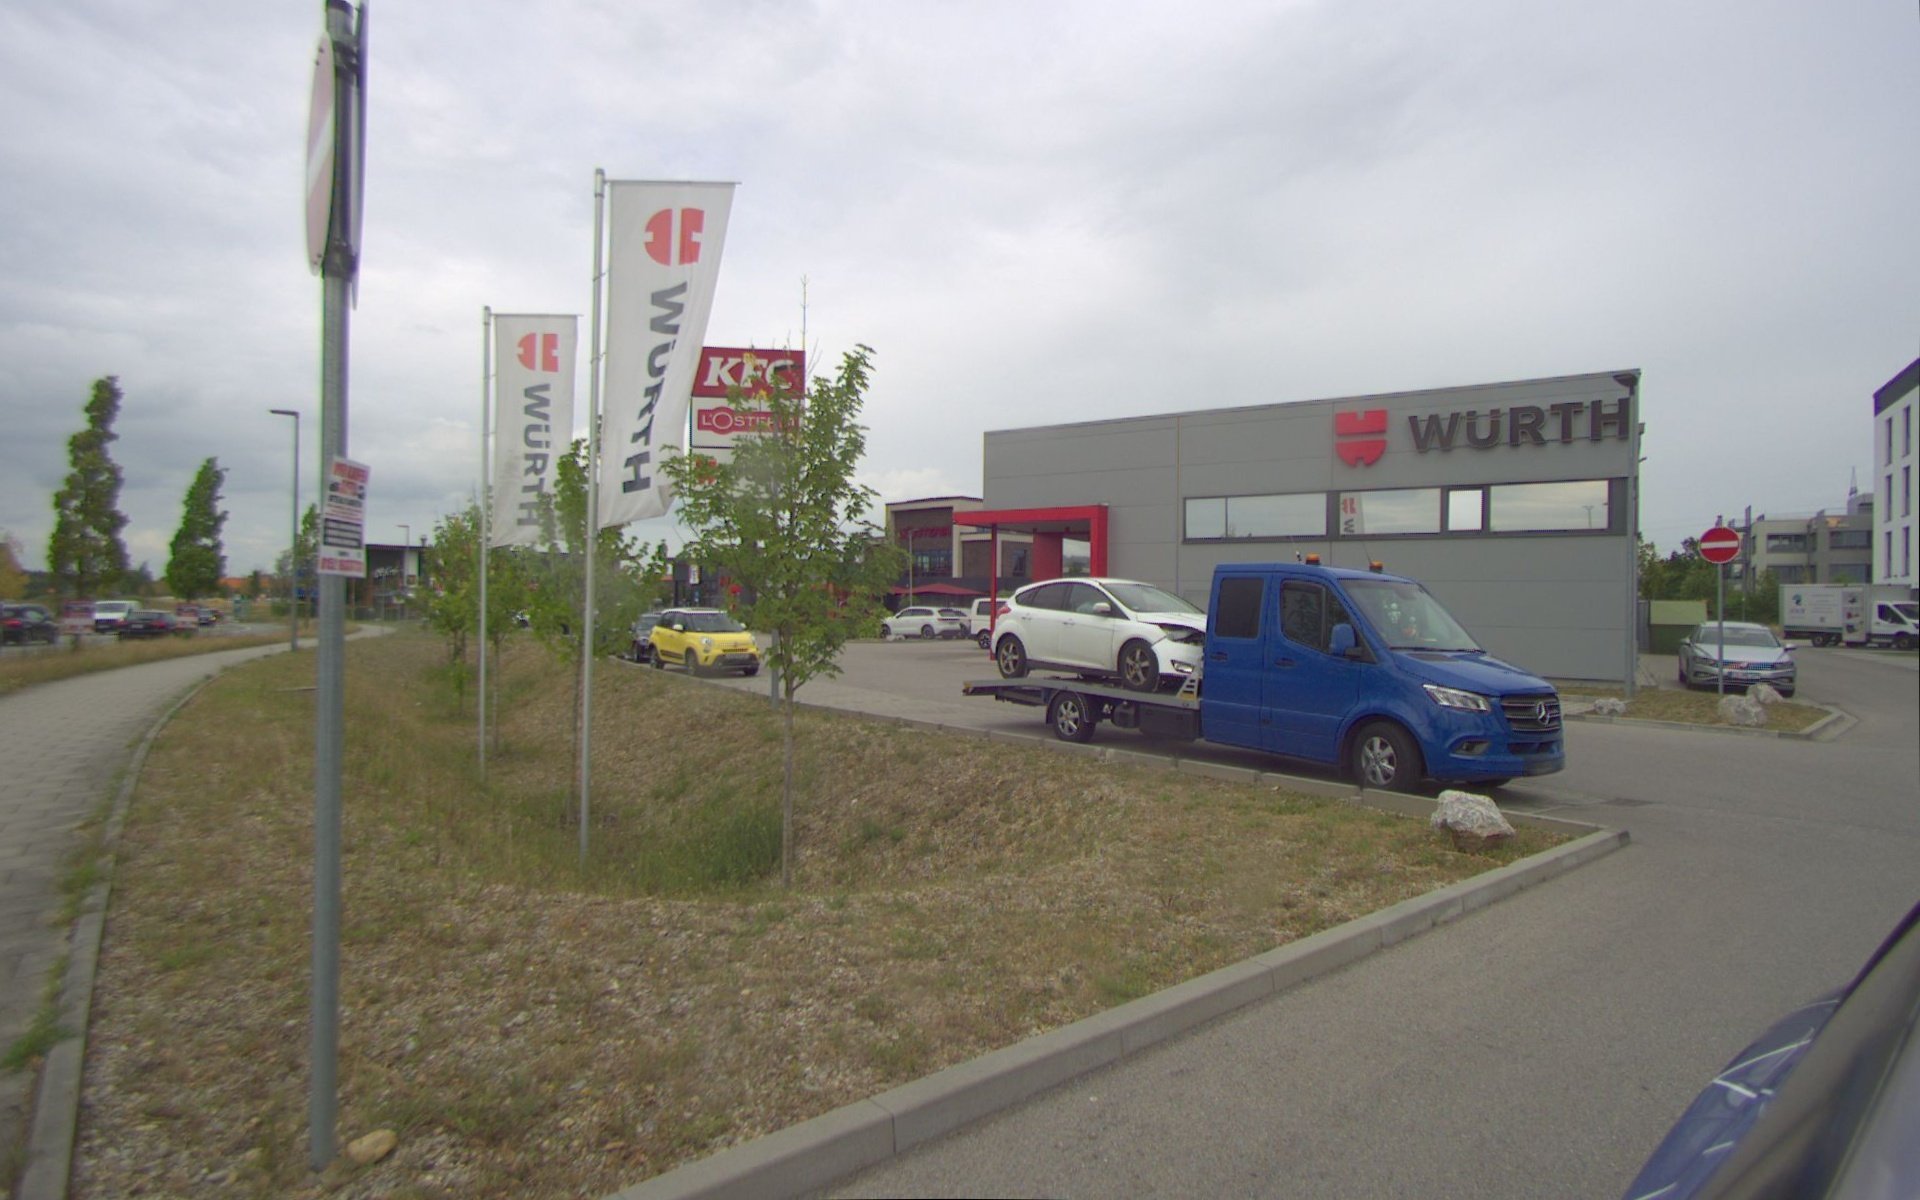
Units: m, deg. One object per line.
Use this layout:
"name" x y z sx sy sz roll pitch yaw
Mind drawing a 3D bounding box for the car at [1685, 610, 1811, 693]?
"car" 17.479 1.039 22.372 1.972 1.510 4.701 3 2 40

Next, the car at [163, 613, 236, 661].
"car" -29.485 1.388 39.312 1.651 1.697 3.511 0 0 -26

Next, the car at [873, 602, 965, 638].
"car" -2.157 0.998 52.417 4.713 1.771 1.735 0 -1 37

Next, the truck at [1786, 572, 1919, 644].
"truck" 41.656 0.308 45.703 2.388 3.054 7.077 0 0 -6

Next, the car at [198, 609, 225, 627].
"car" -81.475 1.945 110.114 3.903 1.873 1.780 0 0 45

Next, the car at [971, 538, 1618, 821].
"car" 3.200 0.629 12.298 2.158 2.352 7.860 0 0 -33

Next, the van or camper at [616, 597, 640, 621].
"van or camper" -29.522 0.815 89.989 1.820 2.087 5.245 0 0 -16

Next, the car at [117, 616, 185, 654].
"car" -32.855 1.374 41.177 1.464 1.403 3.346 0 0 -26

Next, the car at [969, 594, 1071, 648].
"car" 2.302 0.789 39.379 3.651 2.004 1.655 0 0 35

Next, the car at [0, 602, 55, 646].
"car" -36.109 0.870 38.333 1.871 1.588 4.340 0 0 -30

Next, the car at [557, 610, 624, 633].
"car" -24.070 1.402 65.983 3.918 1.438 1.813 0 0 -27

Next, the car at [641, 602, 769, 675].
"car" -6.665 0.926 26.164 1.720 1.704 4.297 0 0 -36

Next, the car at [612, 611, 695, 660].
"car" -9.764 1.073 32.076 1.708 1.379 4.004 0 0 -29

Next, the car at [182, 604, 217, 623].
"car" -60.408 1.083 80.419 1.739 1.402 4.154 1 0 -30

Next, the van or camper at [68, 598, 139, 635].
"van or camper" -48.695 0.906 57.666 1.959 1.936 5.211 0 0 -28

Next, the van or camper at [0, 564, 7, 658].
"van or camper" -25.935 0.257 24.867 2.152 2.574 6.172 1 -1 -29
